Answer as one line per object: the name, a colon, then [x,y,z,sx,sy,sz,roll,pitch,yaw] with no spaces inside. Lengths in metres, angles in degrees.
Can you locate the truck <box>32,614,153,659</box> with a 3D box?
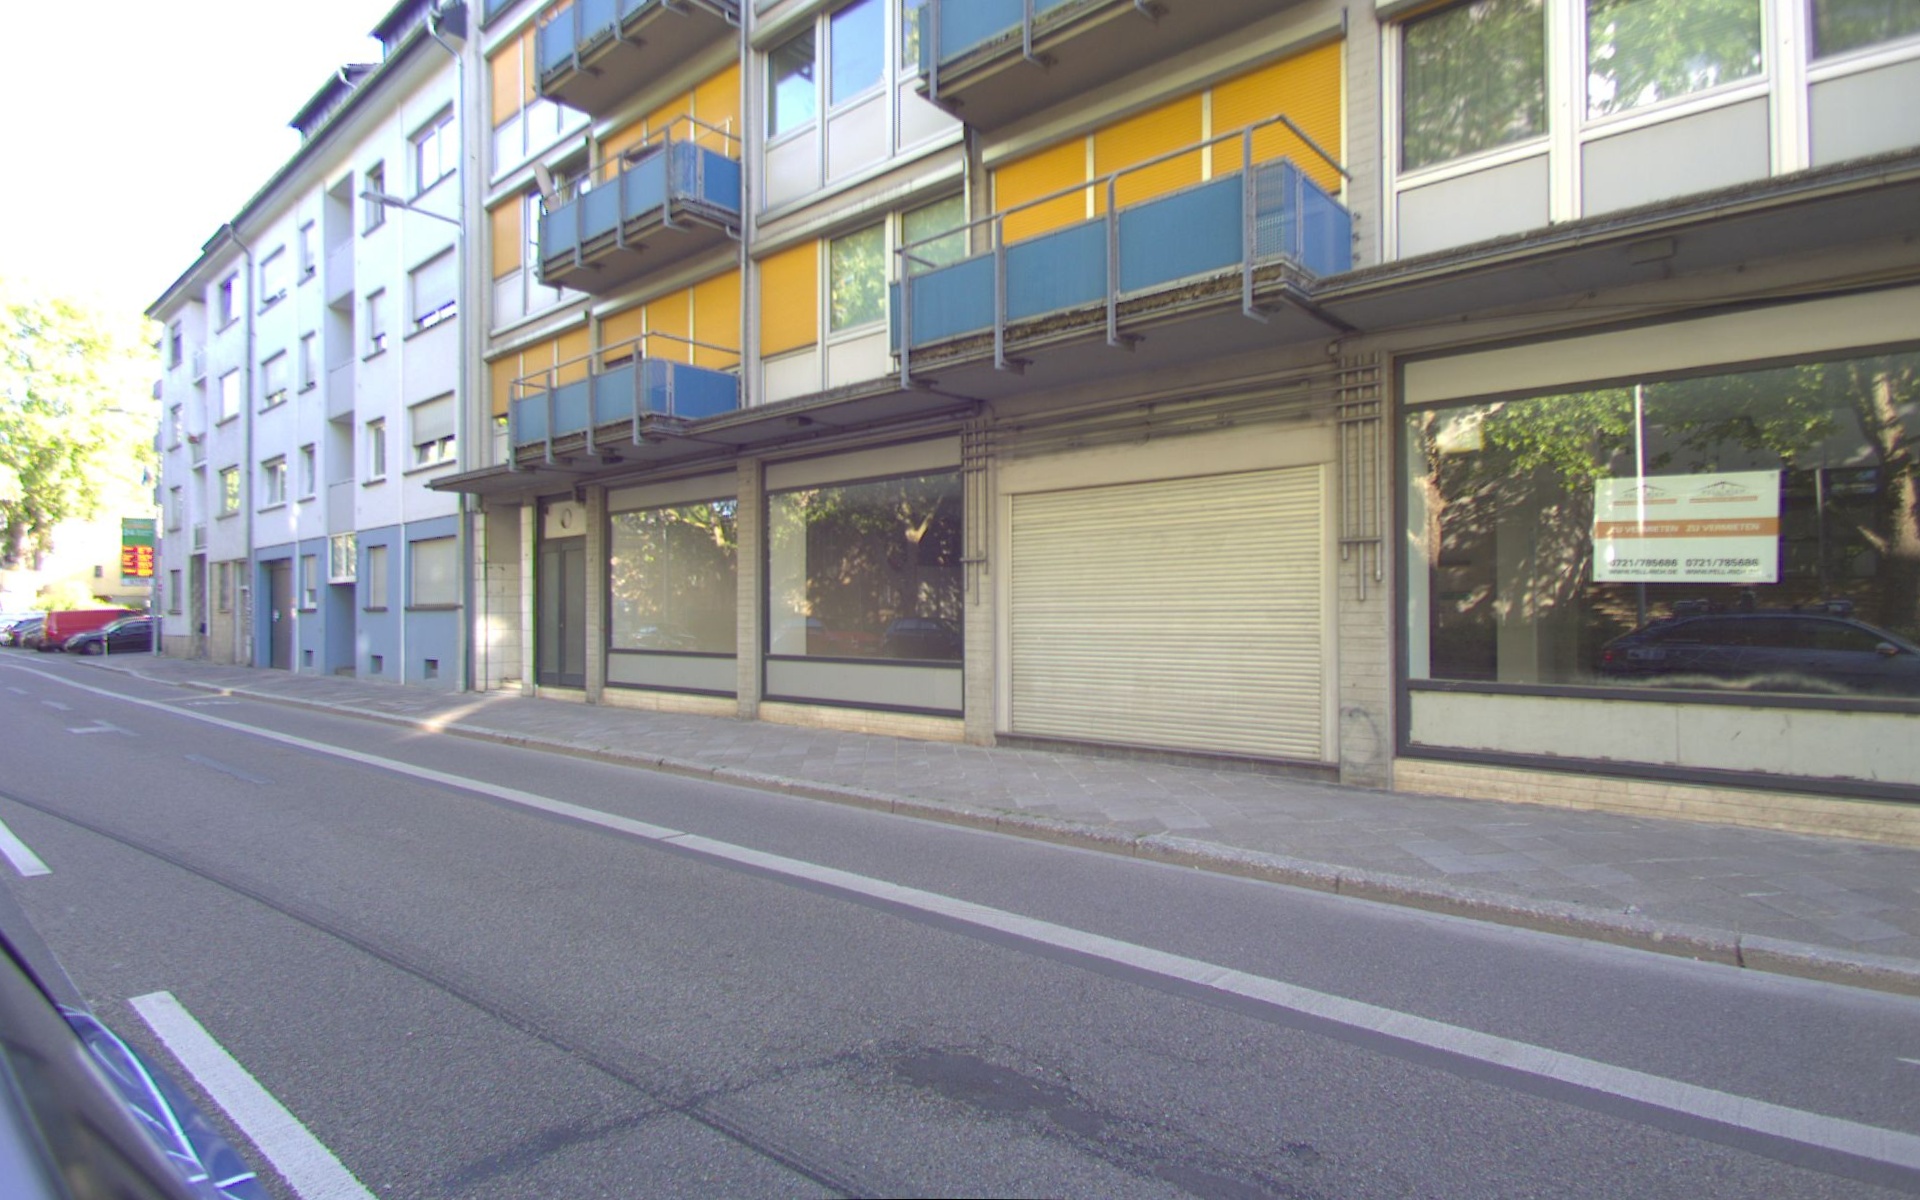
truck: [-40.720,1.649,47.572,1.999,1.939,4.040,-1,0,40]

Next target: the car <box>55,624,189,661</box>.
car: [-36.490,1.795,44.155,1.657,1.417,4.269,-1,0,40]

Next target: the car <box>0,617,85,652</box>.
car: [-56.055,2.066,61.467,2.000,1.971,4.180,-1,0,43]

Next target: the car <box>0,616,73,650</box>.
car: [-59.339,2.095,64.396,2.000,2.052,4.180,-1,0,43]

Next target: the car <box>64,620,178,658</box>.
car: [-38.040,1.731,45.938,1.657,1.583,3.762,-1,0,41]
